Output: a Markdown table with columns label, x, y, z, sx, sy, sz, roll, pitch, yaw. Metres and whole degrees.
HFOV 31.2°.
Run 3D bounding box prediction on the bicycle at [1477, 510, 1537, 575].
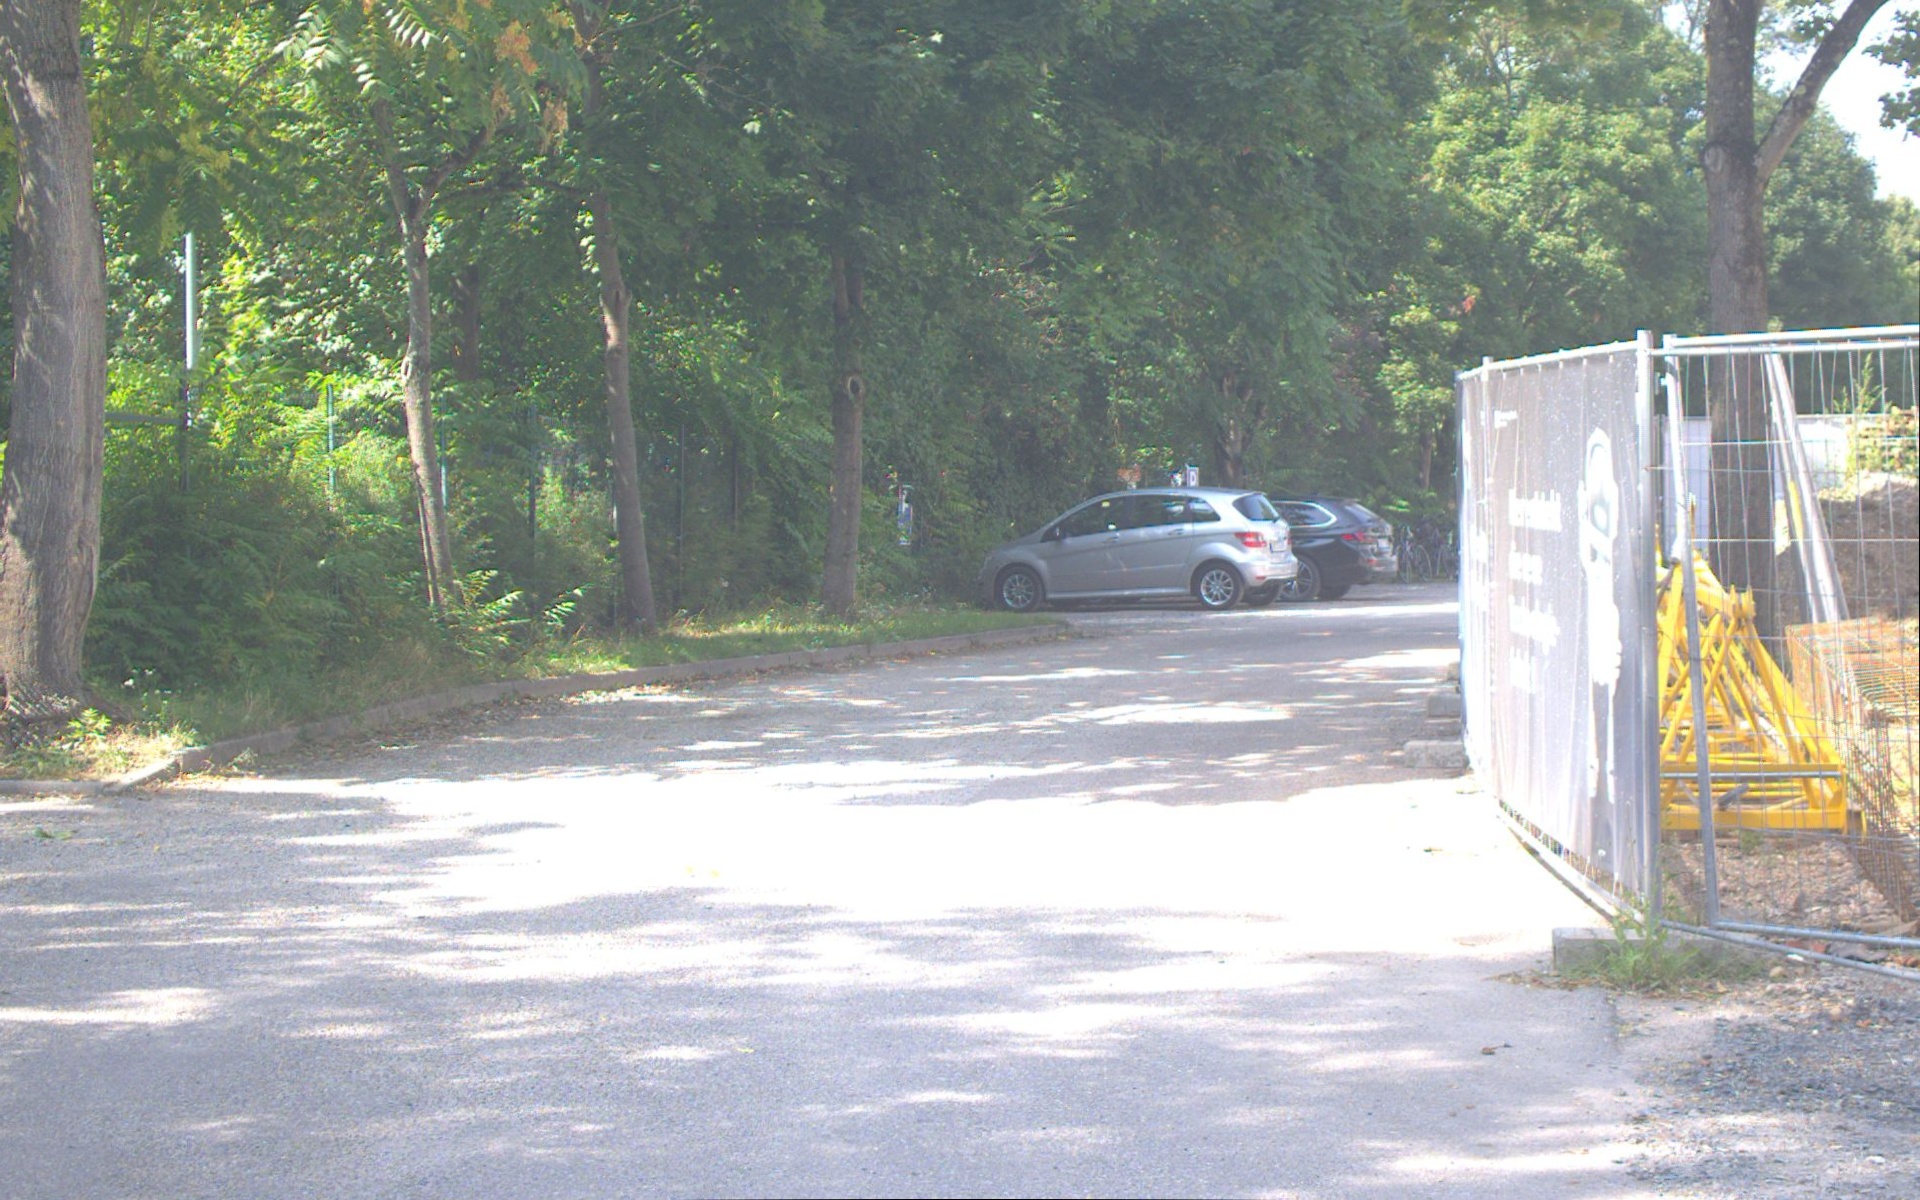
| label | x | y | z | sx | sy | sz | roll | pitch | yaw |
| --- | --- | --- | --- | --- | --- | --- | --- | --- | --- |
| bicycle | 9.526 | -1.009 | 59.862 | 0.499 | 1.104 | 1.798 | 1 | 2 | 27 |

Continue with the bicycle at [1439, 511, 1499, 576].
| label | x | y | z | sx | sy | sz | roll | pitch | yaw |
| --- | --- | --- | --- | --- | --- | --- | --- | --- | --- |
| bicycle | 8.966 | -1.002 | 60.562 | 0.499 | 1.104 | 1.798 | 1 | 2 | 27 |

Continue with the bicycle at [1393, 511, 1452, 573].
| label | x | y | z | sx | sy | sz | roll | pitch | yaw |
| --- | --- | --- | --- | --- | --- | --- | --- | --- | --- |
| bicycle | 8.448 | -1.068 | 62.714 | 0.499 | 1.104 | 1.798 | 1 | 2 | 27 |

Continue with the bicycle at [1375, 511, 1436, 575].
| label | x | y | z | sx | sy | sz | roll | pitch | yaw |
| --- | --- | --- | --- | --- | --- | --- | --- | --- | --- |
| bicycle | 7.870 | -1.012 | 60.664 | 0.499 | 1.104 | 1.798 | 1 | 2 | 27 |

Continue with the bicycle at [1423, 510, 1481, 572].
| label | x | y | z | sx | sy | sz | roll | pitch | yaw |
| --- | --- | --- | --- | --- | --- | --- | --- | --- | --- |
| bicycle | 8.954 | -1.076 | 62.520 | 0.499 | 1.104 | 1.798 | 1 | 2 | 27 |

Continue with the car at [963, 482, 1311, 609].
| label | x | y | z | sx | sy | sz | roll | pitch | yaw |
| --- | --- | --- | --- | --- | --- | --- | --- | --- | --- |
| car | 2.341 | -0.750 | 45.409 | 4.152 | 1.607 | 1.998 | 1 | 2 | 23 |

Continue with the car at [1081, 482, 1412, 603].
| label | x | y | z | sx | sy | sz | roll | pitch | yaw |
| --- | --- | --- | --- | --- | --- | --- | --- | --- | --- |
| car | 3.966 | -0.826 | 47.597 | 4.152 | 1.607 | 1.998 | 1 | 2 | 23 |
